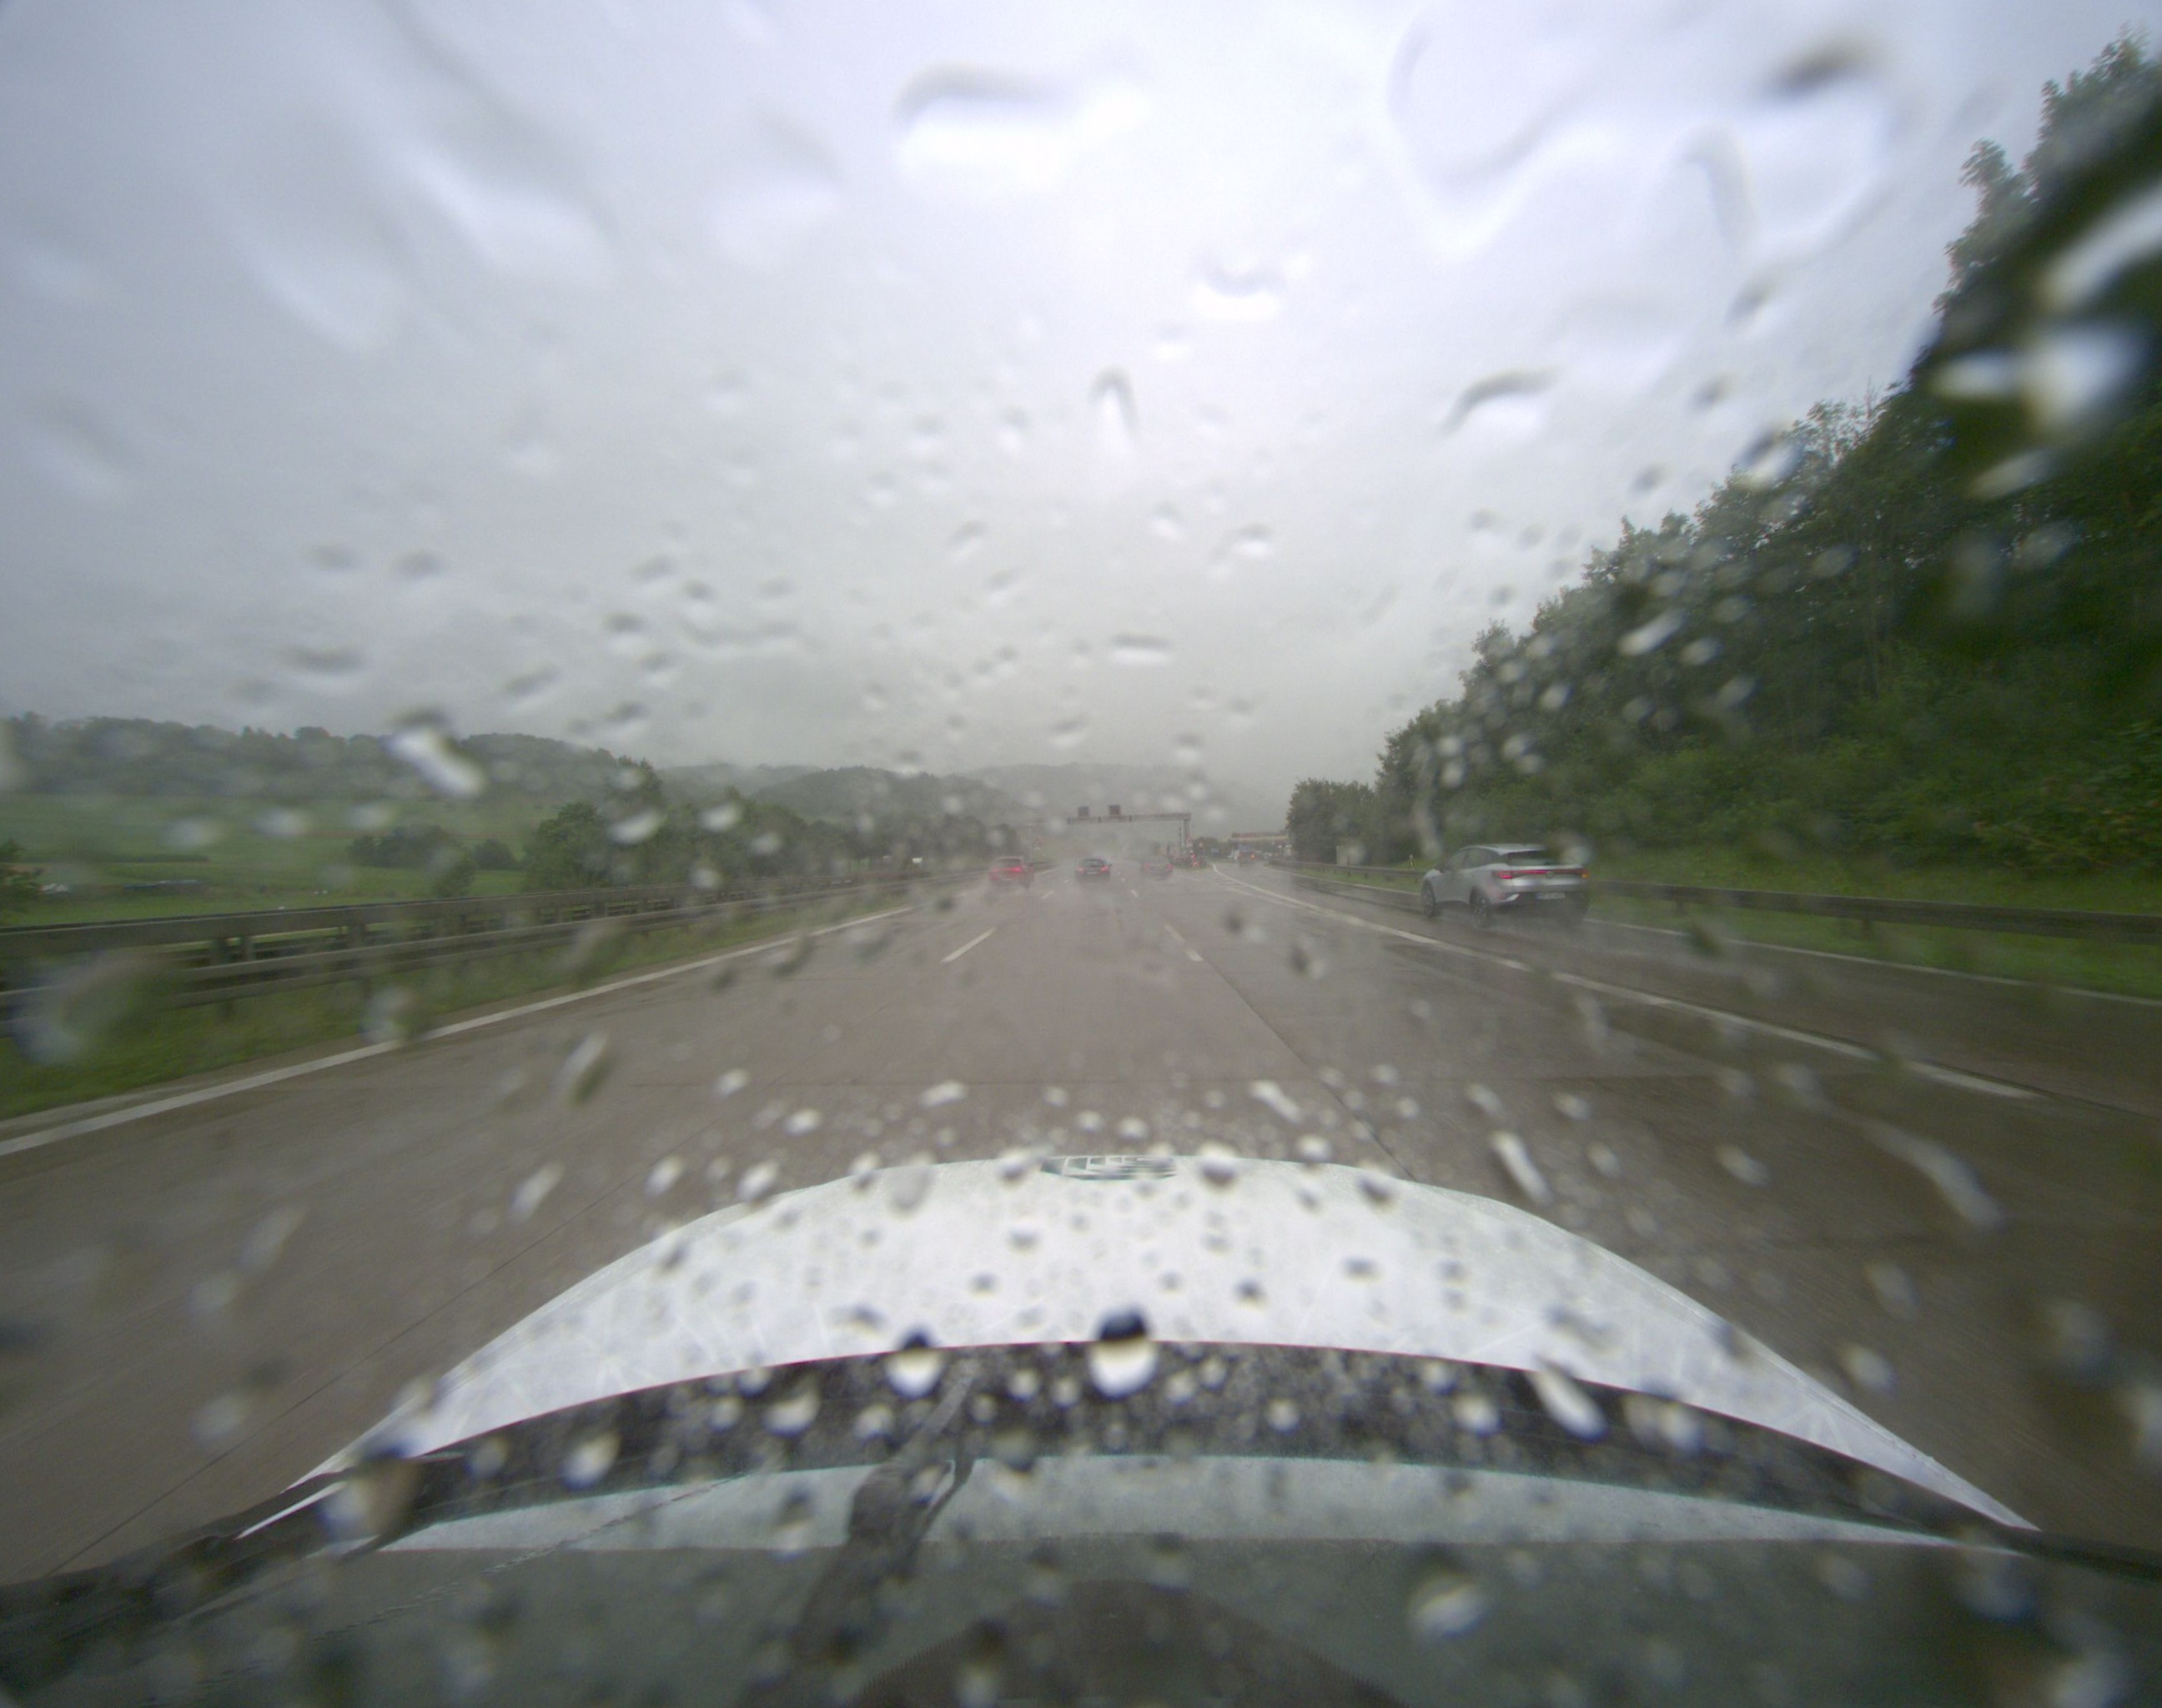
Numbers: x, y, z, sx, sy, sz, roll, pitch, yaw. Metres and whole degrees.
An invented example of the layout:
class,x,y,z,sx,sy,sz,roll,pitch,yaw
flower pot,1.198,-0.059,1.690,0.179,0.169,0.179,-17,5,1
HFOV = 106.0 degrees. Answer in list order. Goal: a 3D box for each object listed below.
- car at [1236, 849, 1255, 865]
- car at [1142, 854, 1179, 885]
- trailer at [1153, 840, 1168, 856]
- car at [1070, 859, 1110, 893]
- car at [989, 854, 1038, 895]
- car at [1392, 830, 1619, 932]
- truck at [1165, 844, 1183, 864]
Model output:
class,x,y,z,sx,sy,sz,roll,pitch,yaw
car,21.237,0.363,105.042,1.983,2.013,5.064,-1,0,7
car,4.880,0.934,50.403,1.964,1.760,4.002,-2,0,2
trailer,21.398,-1.519,219.583,3.502,4.261,11.928,-1,0,3
car,0.495,1.078,40.971,1.852,1.589,4.002,-1,0,2
car,-3.204,0.951,39.177,1.878,1.816,4.001,-2,0,1
car,8.512,0.494,17.097,1.986,1.750,5.665,-1,0,2
truck,21.541,0.047,189.470,3.388,4.402,11.055,0,0,2
